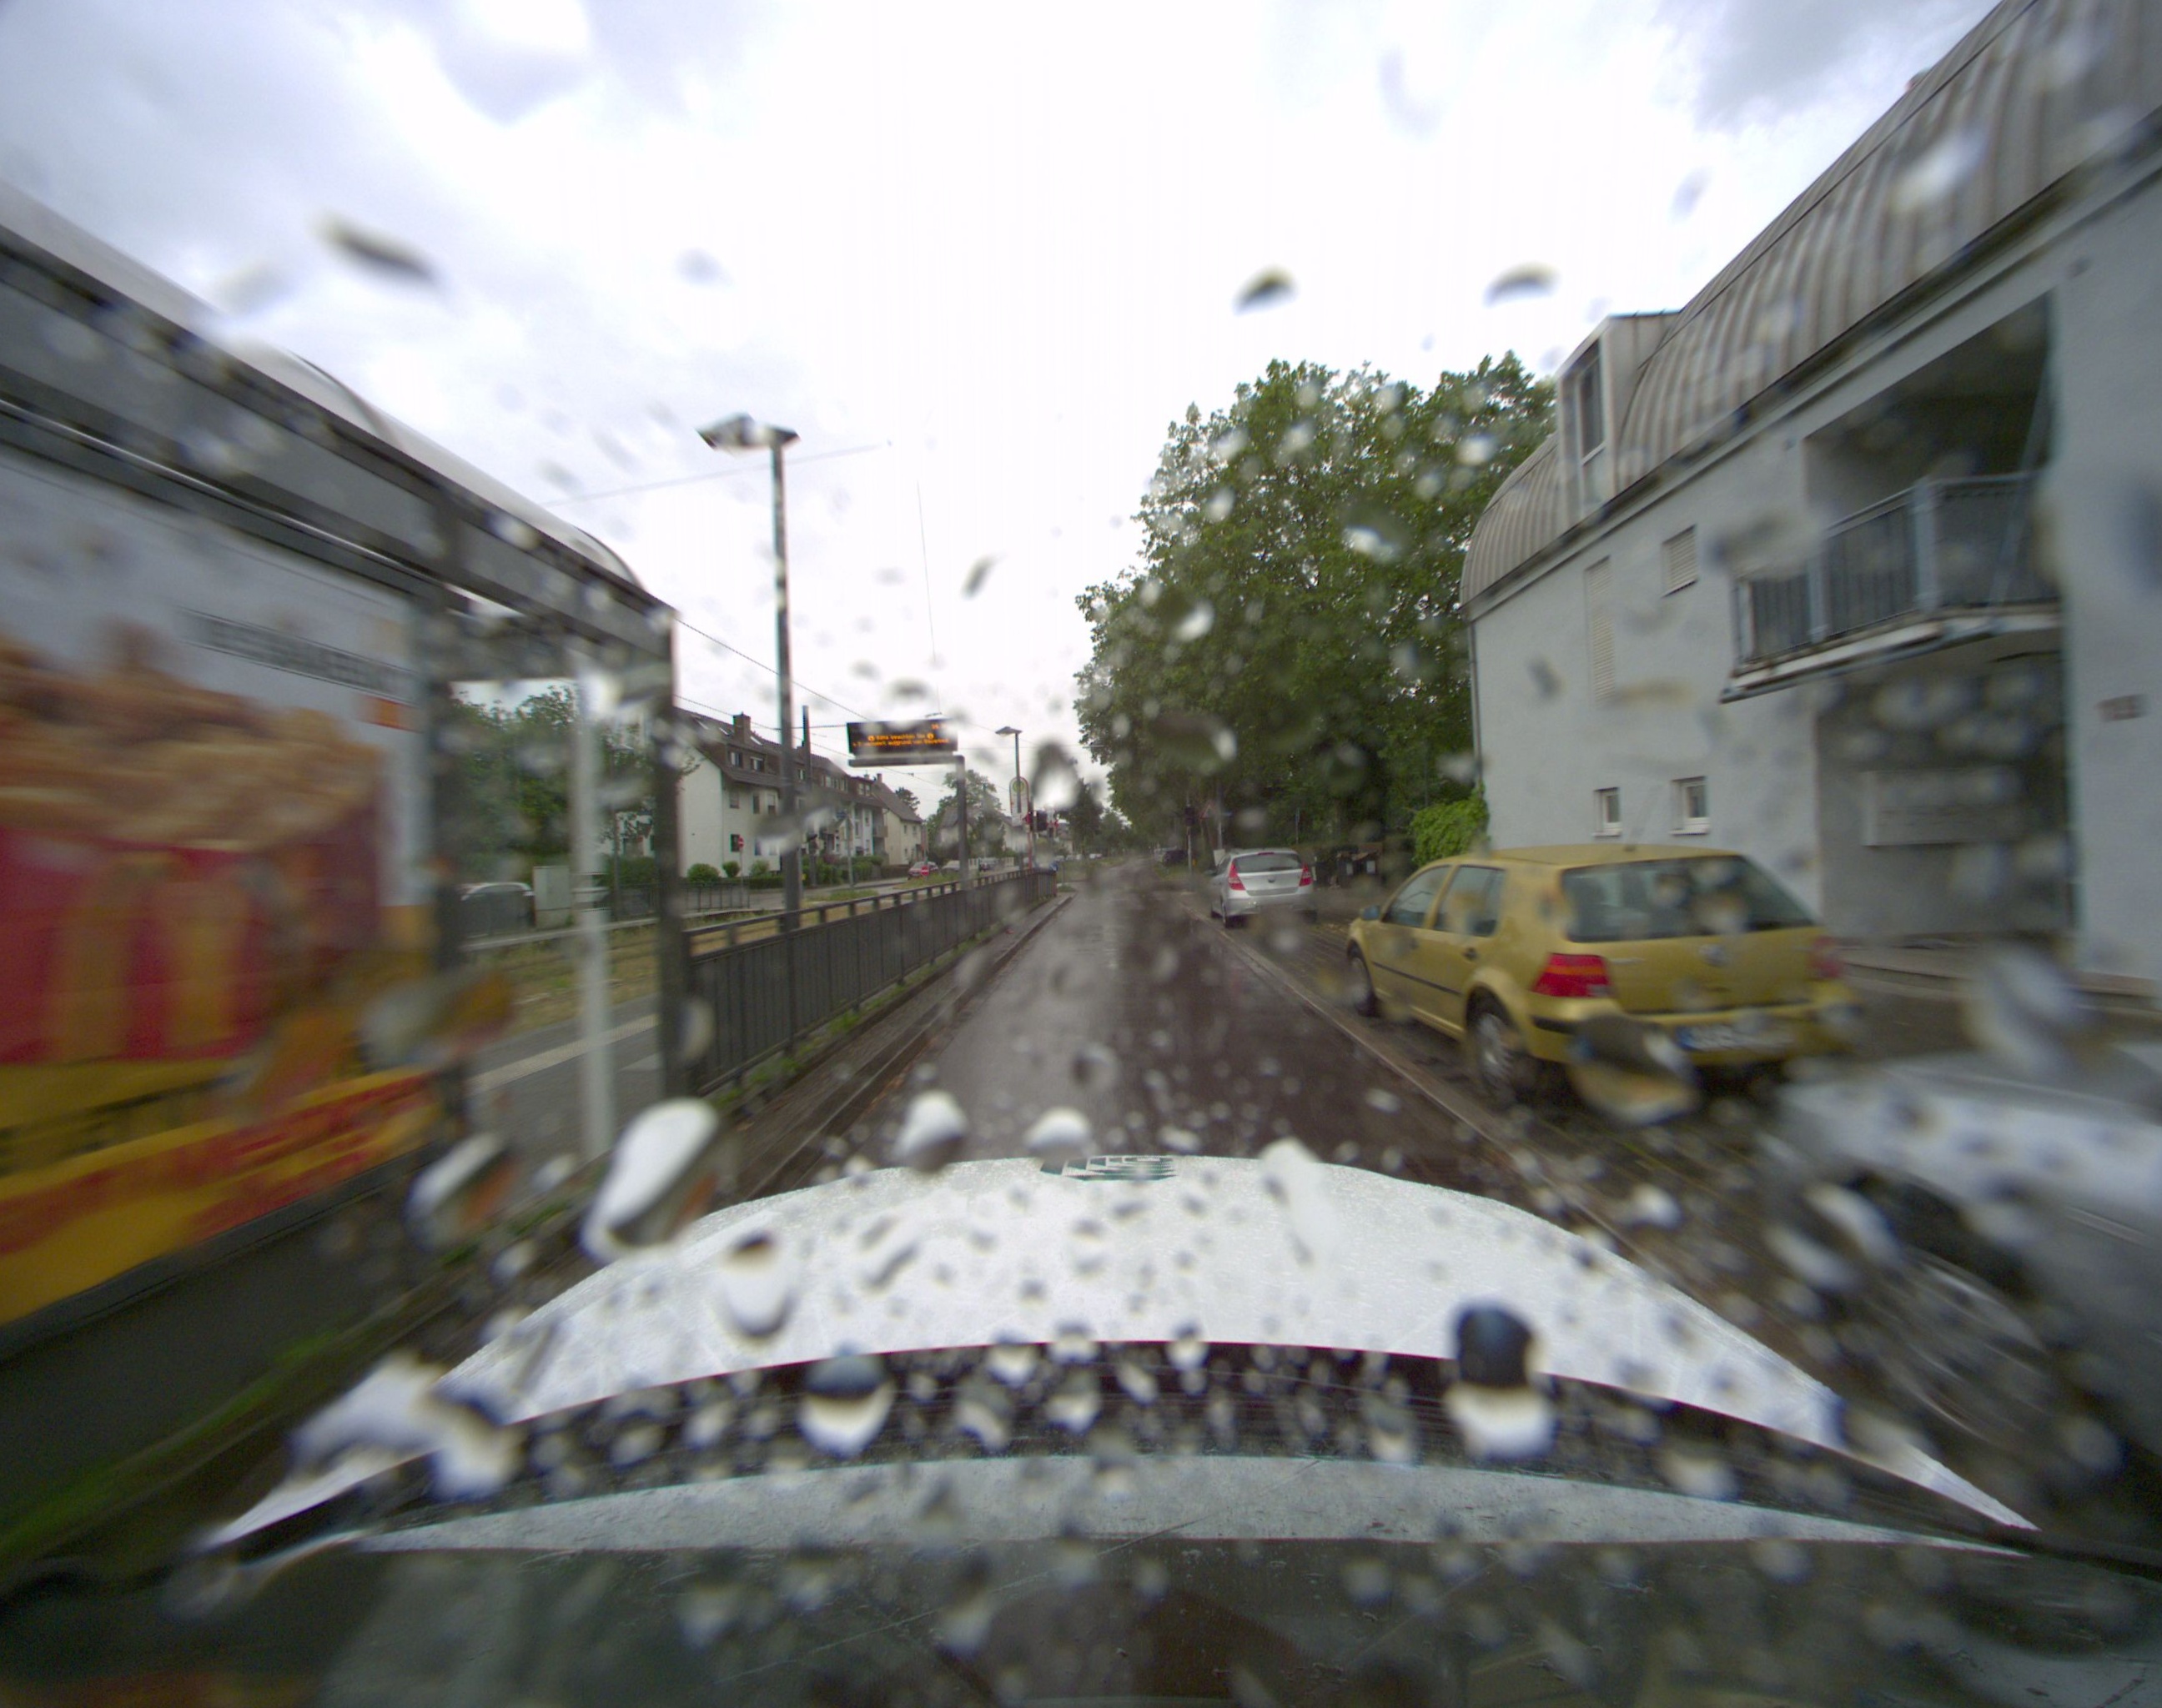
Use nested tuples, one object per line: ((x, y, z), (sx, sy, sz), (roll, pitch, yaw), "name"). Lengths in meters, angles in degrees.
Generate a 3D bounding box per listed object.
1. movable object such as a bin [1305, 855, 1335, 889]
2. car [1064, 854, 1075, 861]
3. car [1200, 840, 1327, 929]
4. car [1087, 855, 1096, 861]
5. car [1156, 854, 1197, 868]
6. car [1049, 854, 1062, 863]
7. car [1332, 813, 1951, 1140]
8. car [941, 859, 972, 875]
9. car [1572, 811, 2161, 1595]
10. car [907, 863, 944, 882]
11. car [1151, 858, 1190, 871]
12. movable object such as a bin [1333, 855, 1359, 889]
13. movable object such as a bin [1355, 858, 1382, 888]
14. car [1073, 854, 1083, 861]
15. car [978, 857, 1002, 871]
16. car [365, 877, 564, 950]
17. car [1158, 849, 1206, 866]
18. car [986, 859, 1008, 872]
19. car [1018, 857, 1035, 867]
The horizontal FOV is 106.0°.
((7.698, 0.576, 26.274), (0.690, 1.022, 0.824), (-4, -1, 1), "movable object such as a bin")
((-2.533, 0.704, 176.670), (1.919, 1.486, 4.006), (-1, -1, 5), "car")
((3.590, 0.587, 16.731), (1.800, 1.467, 3.796), (-5, -1, 2), "car")
((2.831, 1.081, 218.685), (1.919, 1.486, 4.006), (-1, -1, 5), "car")
((10.314, 0.777, 88.010), (3.990, 1.453, 1.991), (-1, -1, -12), "car")
((-4.905, 0.852, 154.728), (1.919, 1.486, 4.006), (-1, -1, 5), "car")
((3.246, 0.612, 5.788), (1.800, 1.405, 3.796), (-5, -1, 2), "car")
((-11.711, 1.231, 76.719), (1.919, 1.486, 4.006), (-1, -1, 5), "car")
((2.758, 0.608, 0.935), (1.643, 1.405, 4.652), (-5, -1, 3), "car")
((-12.523, 1.468, 65.810), (1.919, 1.486, 4.006), (-1, -1, 5), "car")
((10.217, 1.180, 93.370), (3.990, 1.453, 1.991), (-1, -1, -12), "car")
((8.336, 0.557, 25.629), (0.534, 1.022, 0.739), (-4, -1, 1), "movable object such as a bin")
((8.941, 0.580, 25.368), (0.534, 0.899, 0.739), (-4, -1, 1), "movable object such as a bin")
((-0.676, 0.740, 188.791), (1.919, 1.486, 4.006), (-1, -1, 5), "car")
((-10.470, 1.133, 93.810), (1.919, 1.486, 4.006), (-1, -1, 5), "car")
((-14.726, 1.363, 19.777), (1.626, 1.493, 4.003), (-1, -1, 3), "car")
((9.411, 0.361, 75.944), (3.990, 1.453, 1.991), (-1, -1, -12), "car")
((-10.334, 1.444, 100.172), (1.919, 1.486, 4.006), (-1, -1, 5), "car")
((-8.005, 1.208, 120.217), (1.919, 1.486, 4.006), (-1, -1, 5), "car")
